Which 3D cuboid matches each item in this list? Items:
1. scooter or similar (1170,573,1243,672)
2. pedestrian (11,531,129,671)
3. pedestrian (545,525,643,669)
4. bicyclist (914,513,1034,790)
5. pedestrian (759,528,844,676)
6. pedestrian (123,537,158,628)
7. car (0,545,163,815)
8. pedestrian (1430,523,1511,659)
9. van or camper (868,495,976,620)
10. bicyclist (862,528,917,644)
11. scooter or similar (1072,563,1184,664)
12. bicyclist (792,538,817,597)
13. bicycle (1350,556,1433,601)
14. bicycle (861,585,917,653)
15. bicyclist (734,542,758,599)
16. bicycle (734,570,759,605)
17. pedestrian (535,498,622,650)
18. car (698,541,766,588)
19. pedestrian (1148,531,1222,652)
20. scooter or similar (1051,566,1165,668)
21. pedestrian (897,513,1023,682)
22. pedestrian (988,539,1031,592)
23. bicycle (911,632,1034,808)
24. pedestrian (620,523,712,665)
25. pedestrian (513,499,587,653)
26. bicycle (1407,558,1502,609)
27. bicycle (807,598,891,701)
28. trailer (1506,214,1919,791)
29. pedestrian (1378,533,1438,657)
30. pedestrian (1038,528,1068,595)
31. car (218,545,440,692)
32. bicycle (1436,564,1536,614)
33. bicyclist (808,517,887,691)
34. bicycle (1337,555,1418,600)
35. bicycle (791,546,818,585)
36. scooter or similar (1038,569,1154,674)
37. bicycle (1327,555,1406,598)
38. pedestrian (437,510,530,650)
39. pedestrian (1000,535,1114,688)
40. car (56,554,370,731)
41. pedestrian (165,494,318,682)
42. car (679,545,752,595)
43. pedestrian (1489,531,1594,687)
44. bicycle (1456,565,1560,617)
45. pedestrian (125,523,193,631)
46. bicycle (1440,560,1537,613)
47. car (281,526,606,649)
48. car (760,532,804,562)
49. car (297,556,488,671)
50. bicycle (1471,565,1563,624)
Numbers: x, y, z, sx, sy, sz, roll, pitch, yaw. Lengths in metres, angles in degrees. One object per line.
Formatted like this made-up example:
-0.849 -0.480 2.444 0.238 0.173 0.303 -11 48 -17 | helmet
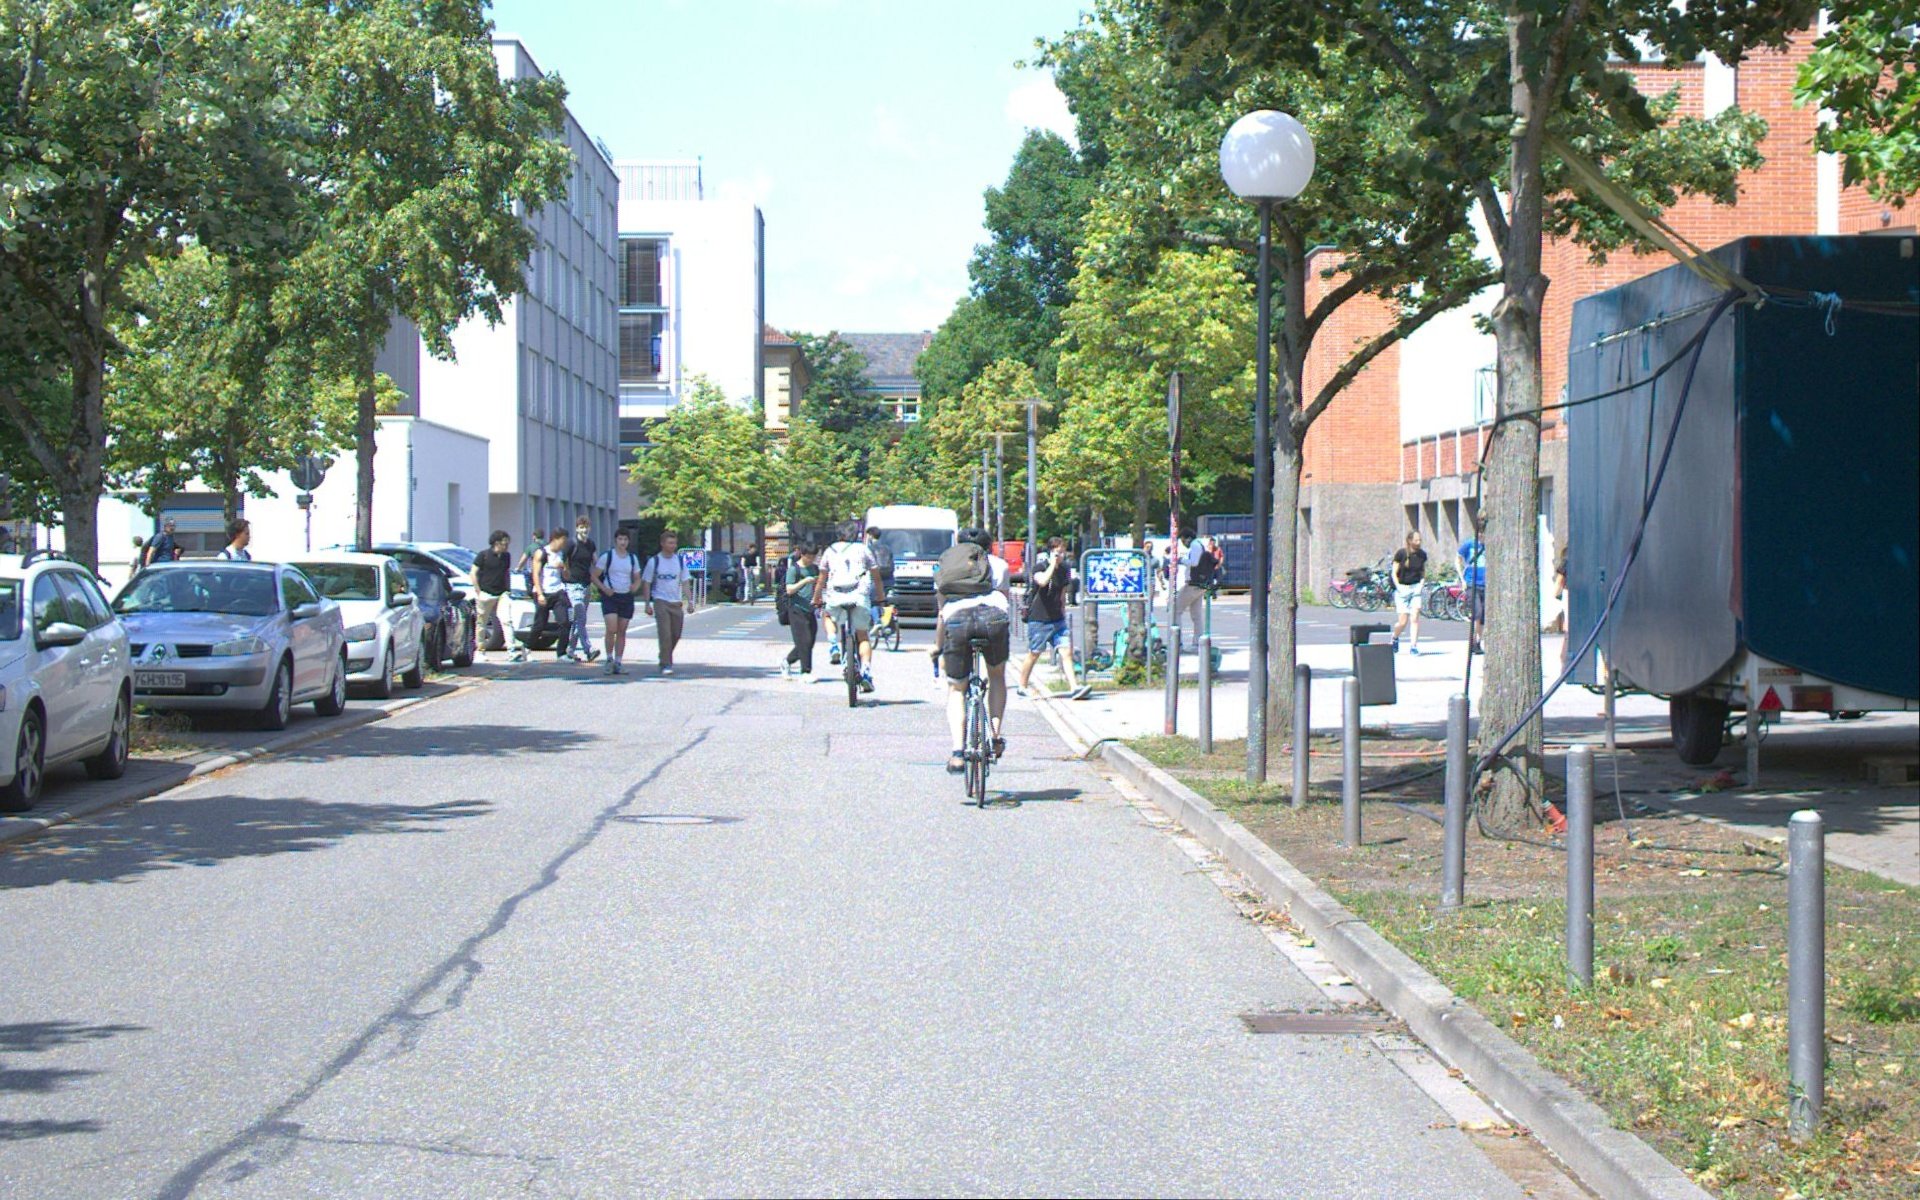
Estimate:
2.978 0.266 41.413 0.649 1.156 1.264 0 1 14 | scooter or similar
-13.031 0.028 50.359 1.177 1.897 1.016 -2 -8 31 | pedestrian
-4.478 -0.036 42.088 0.983 1.733 0.699 0 0 39 | pedestrian
0.089 0.305 21.181 0.717 1.656 1.095 0 0 0 | bicyclist
-1.887 0.019 40.827 0.701 1.714 0.994 2 1 -19 | pedestrian
-16.080 -0.345 67.460 0.551 1.758 0.586 0 0 0 | pedestrian
-6.158 0.389 20.931 1.725 1.451 4.584 2 1 -3 | car
6.932 -0.127 46.687 0.708 1.781 0.753 -5 3 -21 | pedestrian
-0.747 -0.843 70.270 1.993 2.437 4.569 -1 0 2 | van or camper
-1.074 -0.212 52.443 0.808 1.750 0.692 1 0 0 | bicyclist
2.133 0.169 43.770 1.263 1.260 0.638 0 1 31 | scooter or similar
-4.451 -0.932 98.423 0.667 1.676 0.993 -1 1 -1 | bicyclist
9.900 -0.496 78.886 1.809 0.981 0.560 -2 1 -1 | bicycle
-1.078 0.280 52.409 0.808 0.999 2.124 1 0 0 | bicycle
-6.065 -0.839 97.468 0.643 1.596 0.909 -1 1 -3 | bicyclist
-6.066 -0.360 97.627 0.677 0.961 2.003 0 1 -3 | bicycle
-5.059 -0.346 45.586 0.827 1.973 0.691 3 1 23 | pedestrian
-7.580 -1.189 114.549 1.795 1.525 4.000 0 1 3 | car
3.274 -0.132 49.972 0.959 1.688 0.704 2 3 9 | pedestrian
1.849 0.205 42.995 1.263 1.260 0.649 0 1 31 | scooter or similar
0.001 -0.043 39.440 1.115 1.853 0.853 4 4 33 | pedestrian
1.948 -1.368 136.463 1.499 1.989 1.646 -3 2 -3 | pedestrian
0.084 0.715 21.135 0.706 0.990 1.910 1 0 1 | bicycle
-3.629 -0.077 42.447 0.908 1.733 0.677 0 1 37 | pedestrian
-5.328 -0.303 44.678 0.616 1.973 0.829 -1 -1 -32 | pedestrian
10.030 -0.337 69.782 1.809 0.981 0.560 -2 1 -1 | bicycle
-1.137 0.495 35.138 0.808 0.999 2.124 -1 0 -2 | bicycle
5.379 -0.583 21.384 2.691 3.041 6.258 -1 1 -2 | trailer
6.057 -0.073 46.492 0.501 1.625 0.571 -5 3 -20 | pedestrian
2.595 -1.088 96.328 0.790 1.853 1.026 -1 1 0 | pedestrian
-6.461 0.152 35.544 1.662 1.407 3.807 1 1 -1 | car
10.110 -0.210 66.059 1.809 0.909 0.560 -2 1 -1 | bicycle
-1.154 0.039 35.225 0.771 1.750 0.848 -1 1 -2 | bicyclist
9.762 -0.524 80.419 1.809 0.981 0.560 -2 1 -1 | bicycle
-4.454 -0.971 98.346 0.677 0.962 2.003 2 -3 -1 | bicycle
1.667 0.256 42.179 1.263 1.260 0.649 0 1 31 | scooter or similar
9.784 -0.571 82.756 1.809 0.981 0.560 -2 1 -1 | bicycle
-6.228 -0.263 44.969 0.802 1.766 0.853 3 1 23 | pedestrian
1.042 0.115 36.800 0.848 1.589 0.830 -3 2 -44 | pedestrian
-6.307 0.311 29.473 1.725 1.339 4.165 2 1 0 | car
-6.893 -0.115 32.998 1.106 1.710 0.709 3 -2 18 | pedestrian
-7.594 -0.953 107.137 1.795 1.525 4.000 0 1 3 | car
6.401 0.091 37.870 0.875 1.632 0.949 -4 1 -1 | pedestrian
10.169 -0.169 63.800 1.809 0.909 0.560 -1 1 -1 | bicycle
-13.298 -0.374 57.109 0.982 1.779 0.669 0 0 -2 | pedestrian
10.423 -0.267 67.829 1.809 0.981 0.560 -2 1 -1 | bicycle
-7.706 -0.191 51.175 4.513 1.613 1.921 3 0 30 | car
-8.993 -2.678 173.722 1.795 1.525 4.000 0 1 3 | car
-6.837 0.131 41.745 1.645 1.296 3.928 -1 1 0 | car
10.016 -0.097 61.865 1.535 1.029 0.560 -1 1 -1 | bicycle
